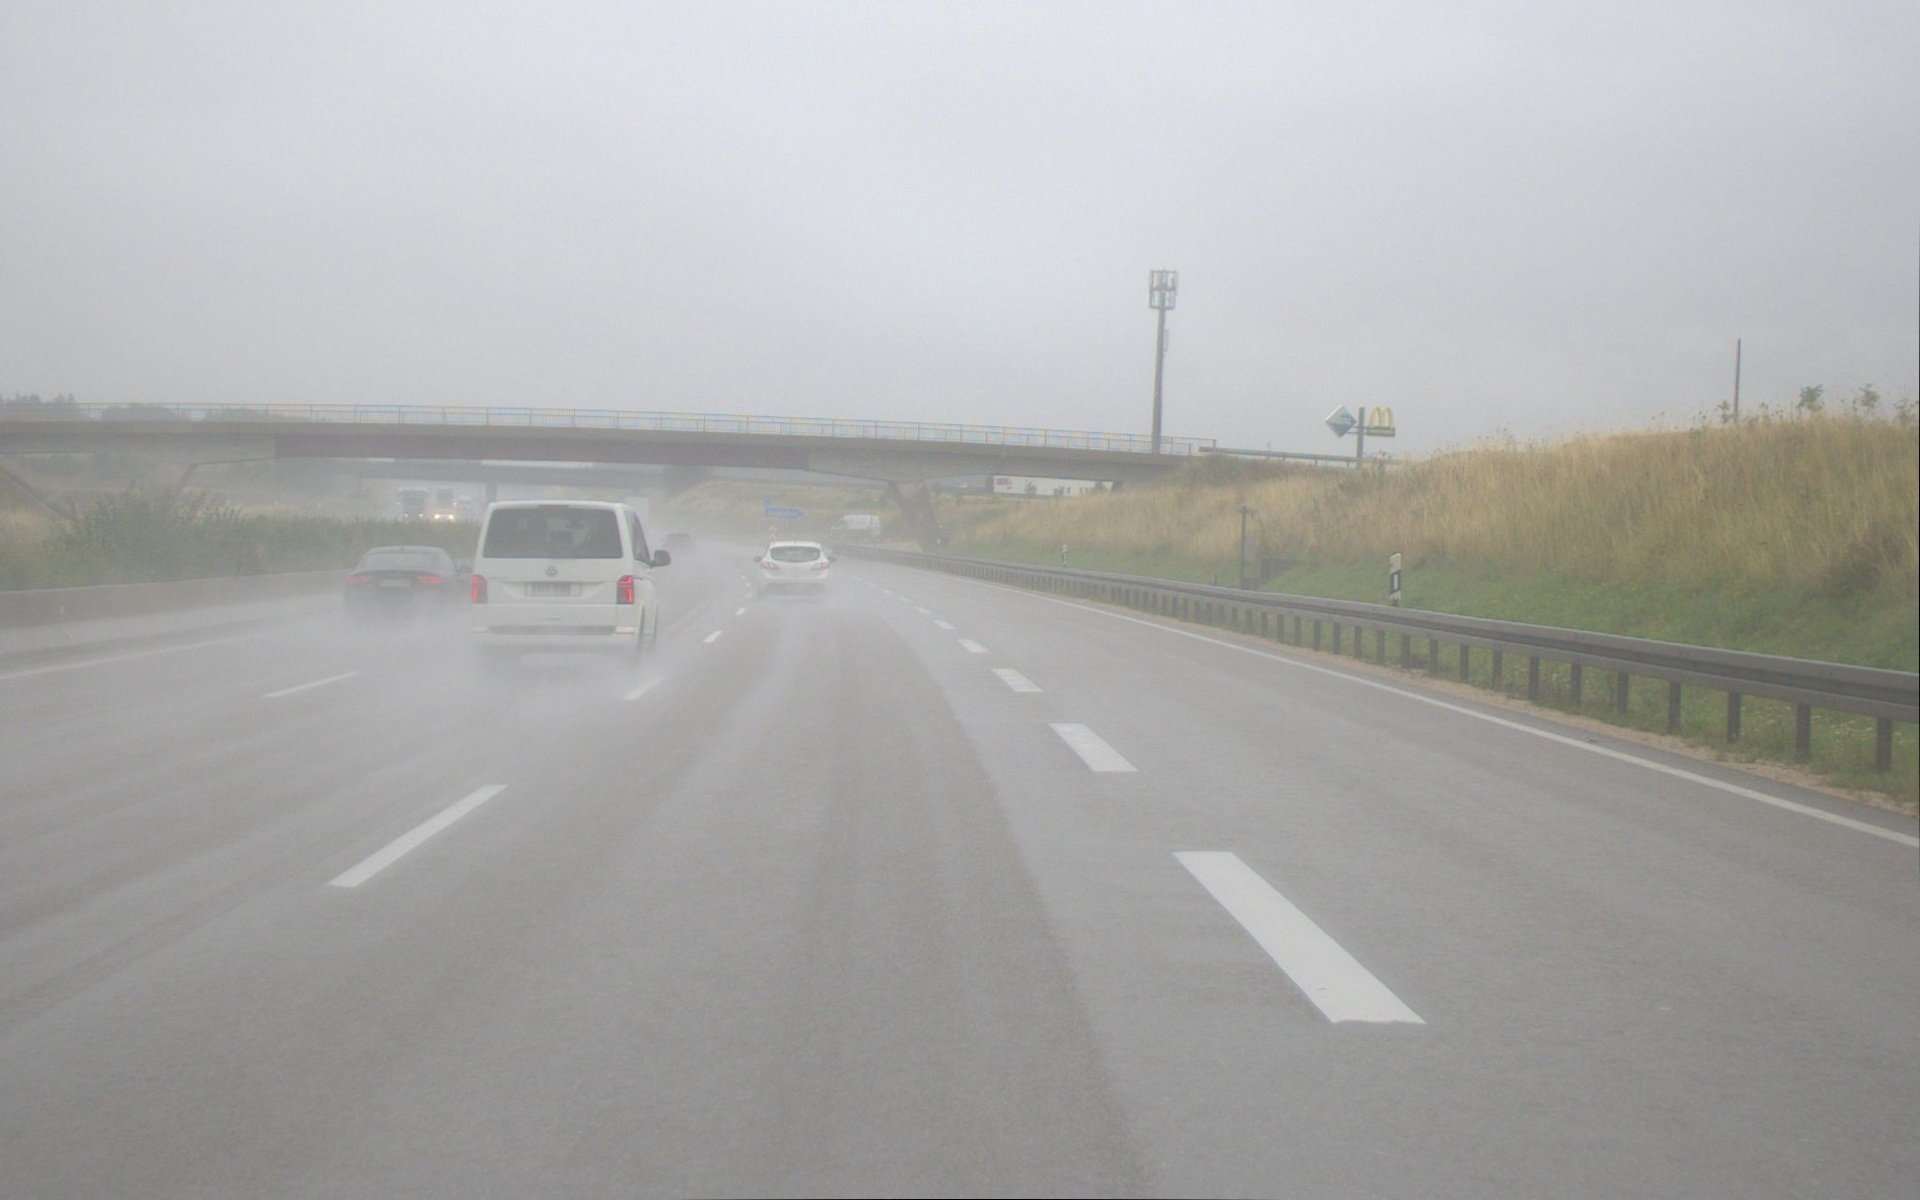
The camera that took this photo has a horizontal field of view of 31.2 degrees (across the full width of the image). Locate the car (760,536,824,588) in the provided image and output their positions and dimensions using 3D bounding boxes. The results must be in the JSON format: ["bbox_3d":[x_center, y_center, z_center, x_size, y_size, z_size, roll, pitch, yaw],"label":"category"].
[{"bbox_3d":[-3.980,-0.909,81.798,1.467,1.204,2.992,1,1,-2],"label":"car"}]

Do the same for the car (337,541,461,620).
[{"bbox_3d":[-9.269,-0.343,57.003,1.468,1.253,3.340,0,1,1],"label":"car"}]

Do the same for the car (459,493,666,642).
[{"bbox_3d":[-4.469,-0.384,39.140,1.897,1.580,4.000,1,1,0],"label":"car"}]
